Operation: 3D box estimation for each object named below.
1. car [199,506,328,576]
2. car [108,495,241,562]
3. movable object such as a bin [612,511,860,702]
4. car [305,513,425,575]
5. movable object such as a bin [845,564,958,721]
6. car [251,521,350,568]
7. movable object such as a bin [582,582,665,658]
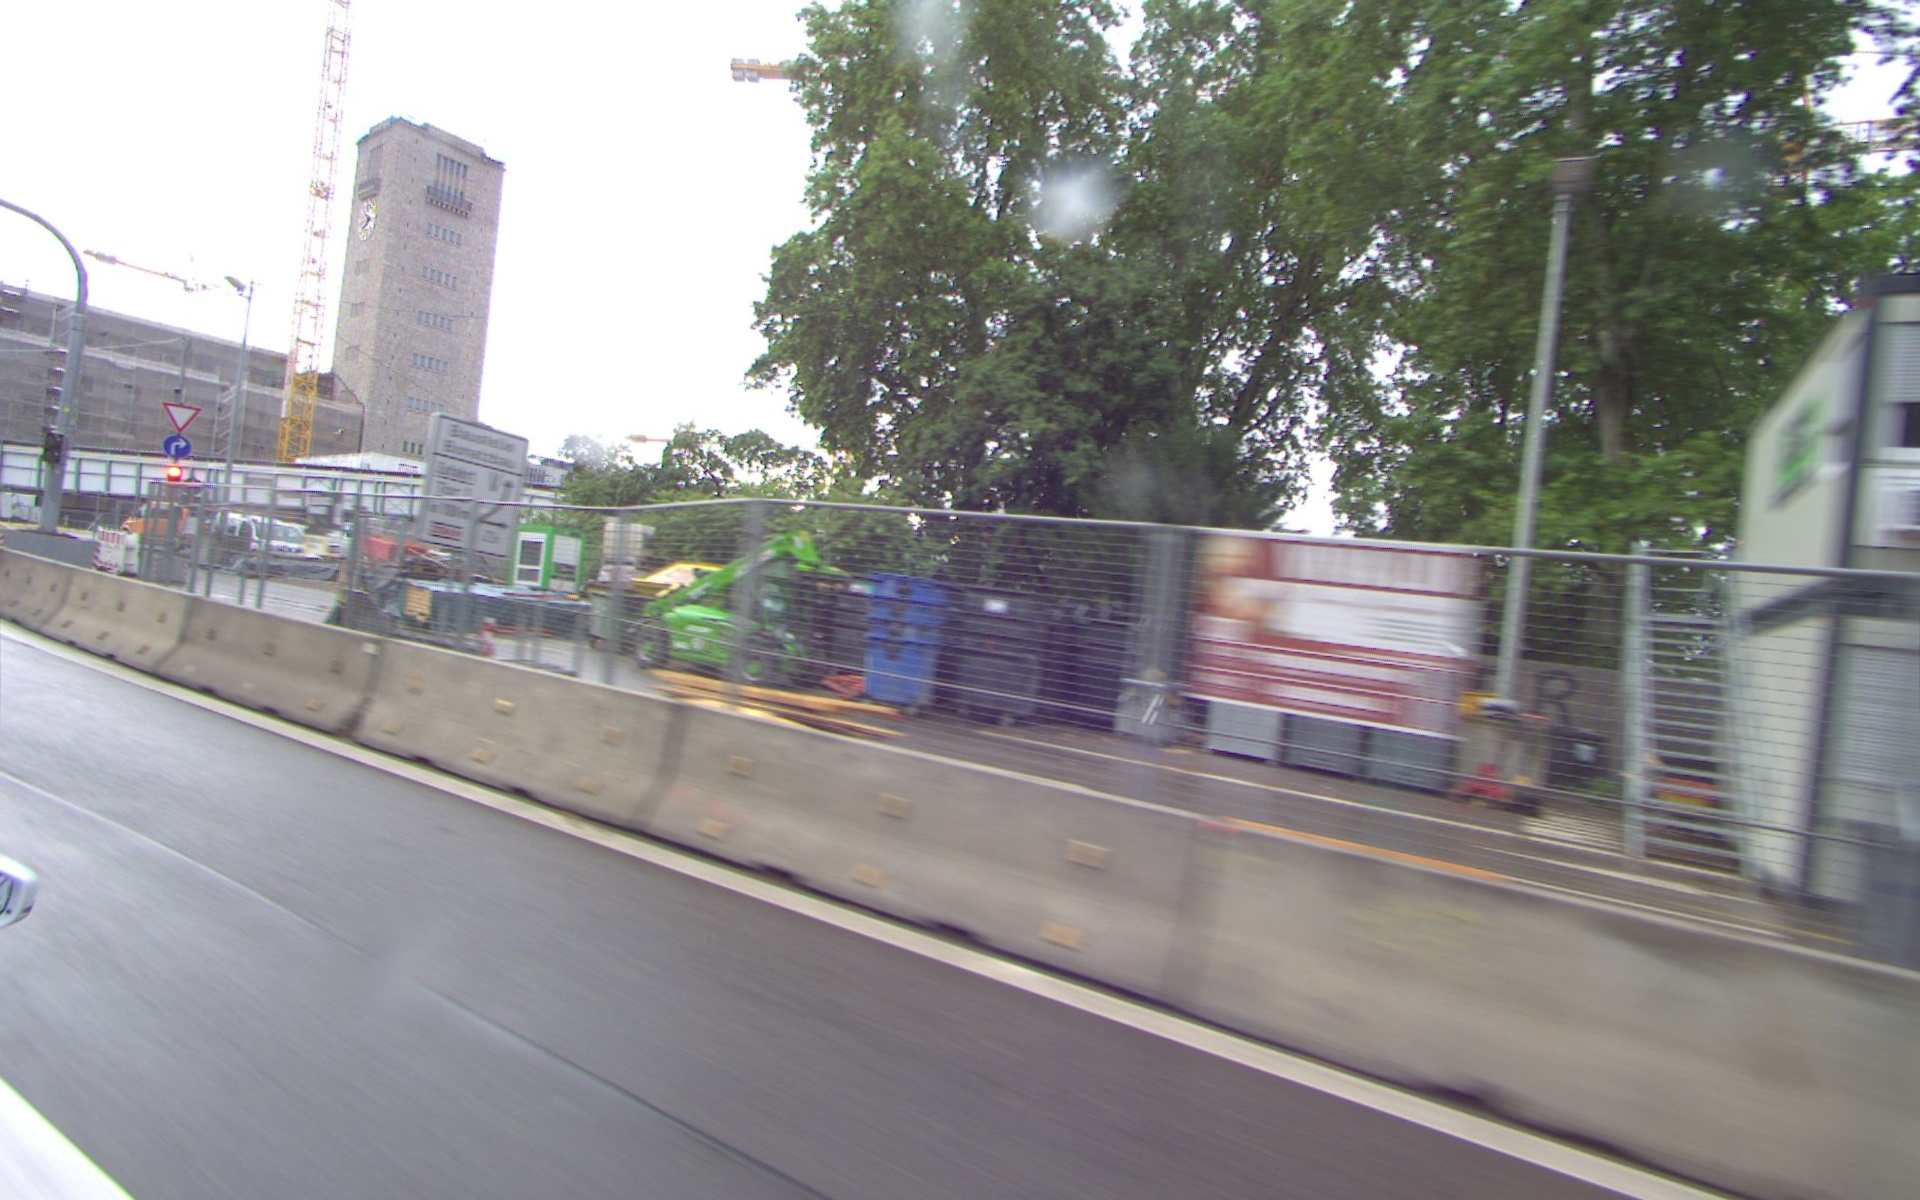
[{"bbox_3d":[-24.847,-2.132,35.836,5.002,1.828,1.849,8,0,32],"label":"car"},{"bbox_3d":[-30.068,-2.744,38.476,5.072,1.999,1.916,7,-1,27],"label":"car"},{"bbox_3d":[-4.062,0.107,18.202,3.798,2.844,1.811,8,0,27],"label":"movable object such as a bin"},{"bbox_3d":[-27.990,-2.651,47.303,5.506,2.343,2.048,6,1,26],"label":"car"},{"bbox_3d":[-0.898,0.667,16.103,1.241,2.230,1.462,8,0,9],"label":"movable object such as a bin"},{"bbox_3d":[-29.543,-2.496,45.086,3.865,1.640,1.942,7,1,26],"label":"car"},{"bbox_3d":[-7.078,0.407,21.138,1.171,1.361,1.251,8,0,-38],"label":"movable object such as a bin"}]
